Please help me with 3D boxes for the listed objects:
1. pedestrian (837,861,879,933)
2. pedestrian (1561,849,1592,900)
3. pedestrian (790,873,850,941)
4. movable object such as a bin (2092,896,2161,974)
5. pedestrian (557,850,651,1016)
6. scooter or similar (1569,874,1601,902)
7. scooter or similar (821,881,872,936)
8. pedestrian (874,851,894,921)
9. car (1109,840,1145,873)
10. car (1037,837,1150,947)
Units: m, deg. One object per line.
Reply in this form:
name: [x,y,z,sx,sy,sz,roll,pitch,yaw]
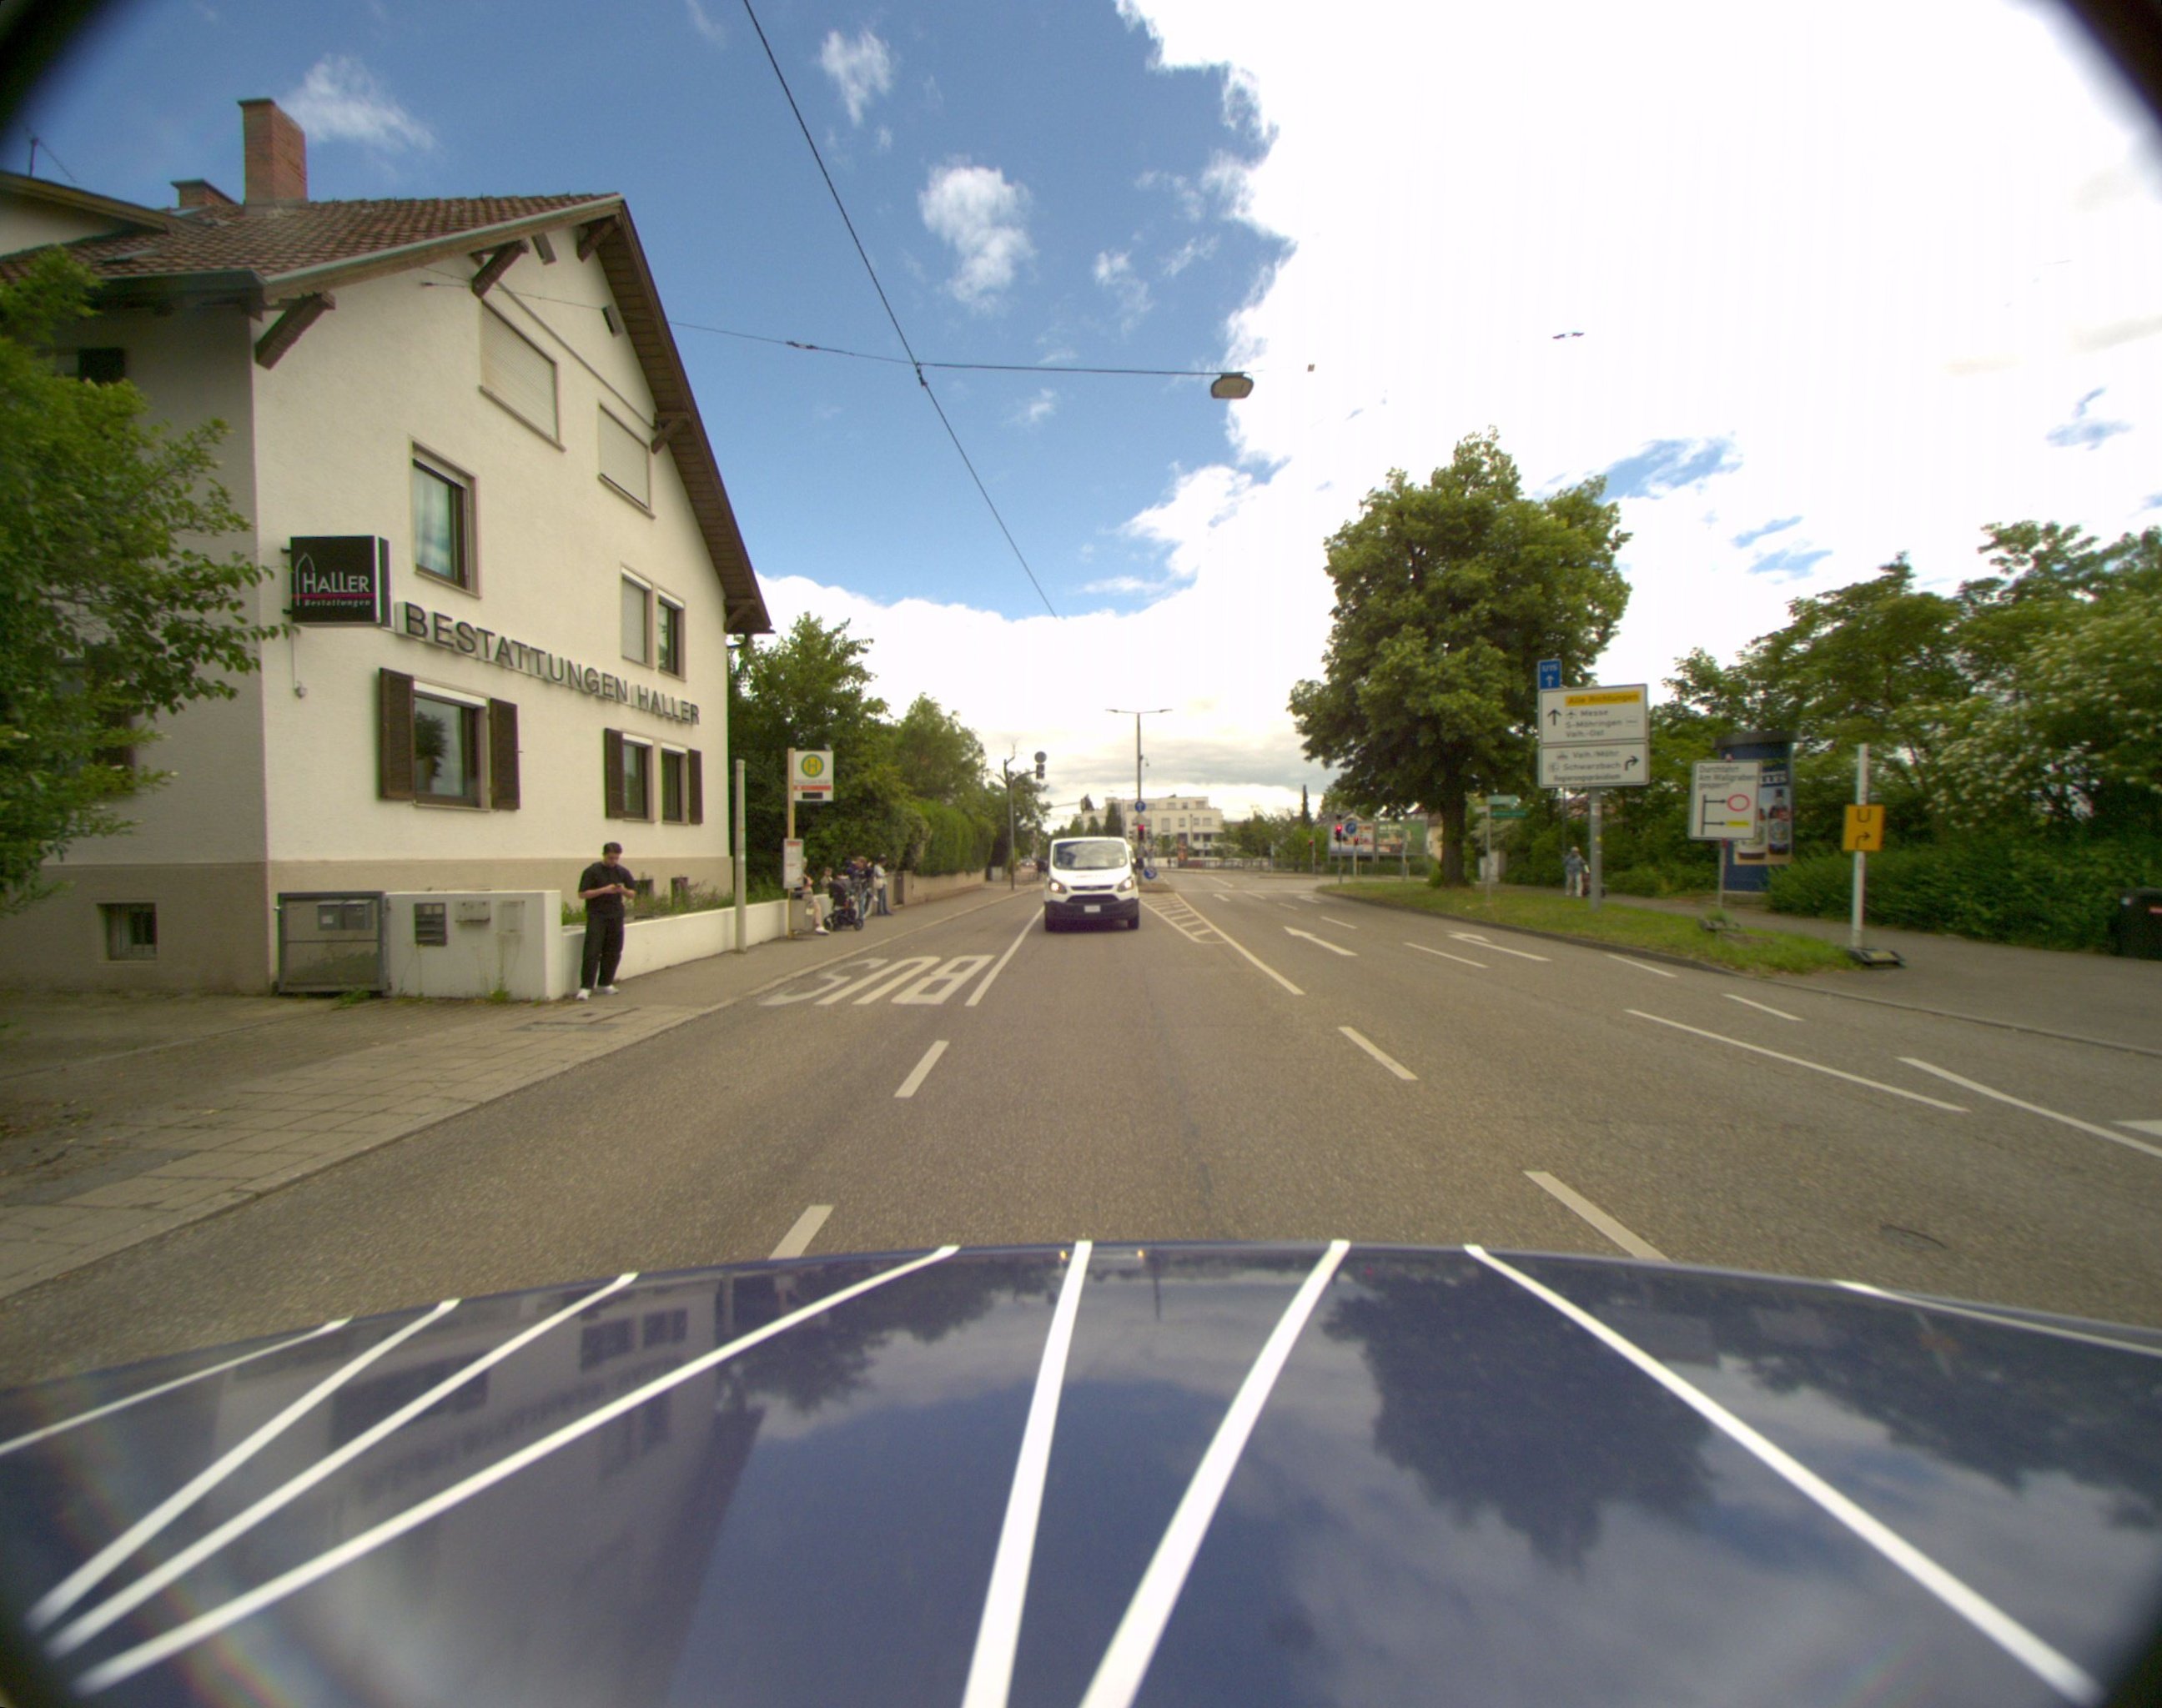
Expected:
pedestrian: [-4.915,0.926,16.764,0.661,1.526,0.748,2,1,1]
pedestrian: [15.498,0.633,23.764,0.672,1.549,0.520,-2,1,19]
pedestrian: [-5.105,1.030,14.915,0.916,1.244,0.789,2,1,-4]
movable object such as a bin: [13.452,1.010,9.604,0.566,0.922,0.608,-1,1,18]
pedestrian: [-5.335,0.854,8.514,0.488,1.757,0.672,-1,1,33]
scooter or similar: [15.309,1.015,23.083,0.607,0.782,0.860,-2,1,19]
scooter or similar: [-4.901,1.120,15.915,0.478,1.091,0.860,3,1,44]
pedestrian: [-5.051,0.808,19.483,0.344,1.745,0.496,2,1,-3]
car: [3.994,0.157,67.204,2.196,2.630,7.442,-2,1,-3]
car: [0.267,0.672,16.872,1.998,1.961,5.714,-2,1,1]
